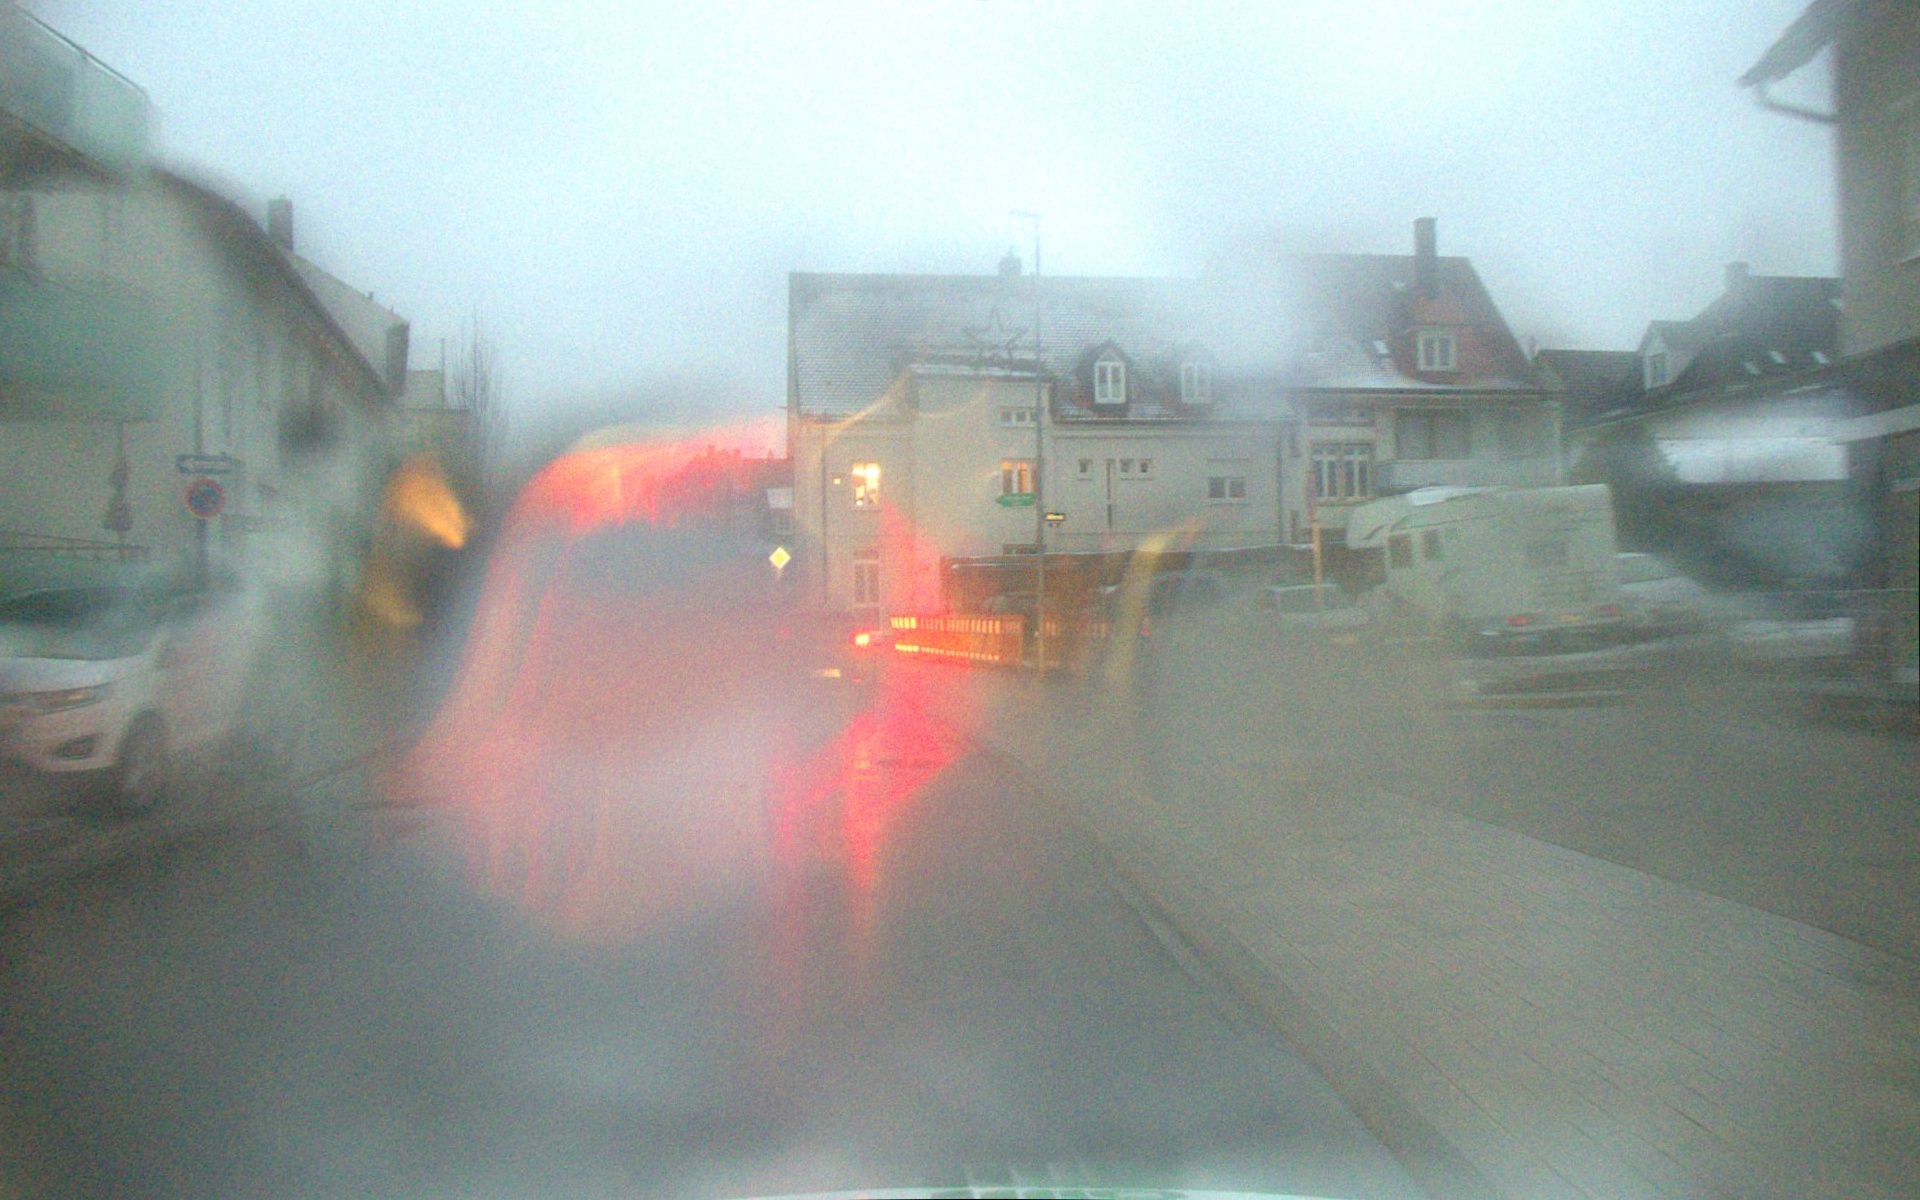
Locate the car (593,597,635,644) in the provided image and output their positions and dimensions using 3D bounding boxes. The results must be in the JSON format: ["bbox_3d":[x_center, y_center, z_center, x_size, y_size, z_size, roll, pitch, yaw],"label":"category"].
[{"bbox_3d":[-17.073,1.000,81.450,1.959,2.241,3.987,0,0,-13],"label":"car"}]

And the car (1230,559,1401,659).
[{"bbox_3d":[6.556,0.203,30.984,1.955,1.639,4.170,-3,-1,-5],"label":"car"}]

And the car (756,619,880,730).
[{"bbox_3d":[-2.267,1.109,26.069,1.779,1.560,3.995,0,0,-6],"label":"car"}]

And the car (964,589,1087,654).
[{"bbox_3d":[1.546,0.488,40.362,1.857,1.488,3.615,-1,0,-18],"label":"car"}]

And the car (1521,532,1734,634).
[{"bbox_3d":[12.240,-0.298,30.614,1.756,1.580,3.992,-7,1,-8],"label":"car"}]

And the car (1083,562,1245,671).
[{"bbox_3d":[3.737,0.278,31.080,1.956,1.795,4.344,-3,0,-7],"label":"car"}]

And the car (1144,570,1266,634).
[{"bbox_3d":[6.302,0.028,42.975,1.789,1.487,4.538,-3,1,-9],"label":"car"}]

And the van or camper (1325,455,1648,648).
[{"bbox_3d":[9.668,-0.825,31.264,2.606,3.100,6.711,-4,1,-13],"label":"van or camper"}]

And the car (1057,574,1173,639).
[{"bbox_3d":[3.857,0.155,41.618,1.693,1.487,3.618,-3,1,-15],"label":"car"}]

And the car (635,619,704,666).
[{"bbox_3d":[-10.647,1.509,60.408,1.962,1.616,3.980,0,0,-18],"label":"car"}]

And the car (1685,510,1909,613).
[{"bbox_3d":[15.539,-0.697,30.974,1.954,1.634,3.998,-5,1,-2],"label":"car"}]

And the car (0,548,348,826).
[{"bbox_3d":[-6.985,0.593,13.804,1.953,1.876,5.300,0,0,-2],"label":"car"}]
